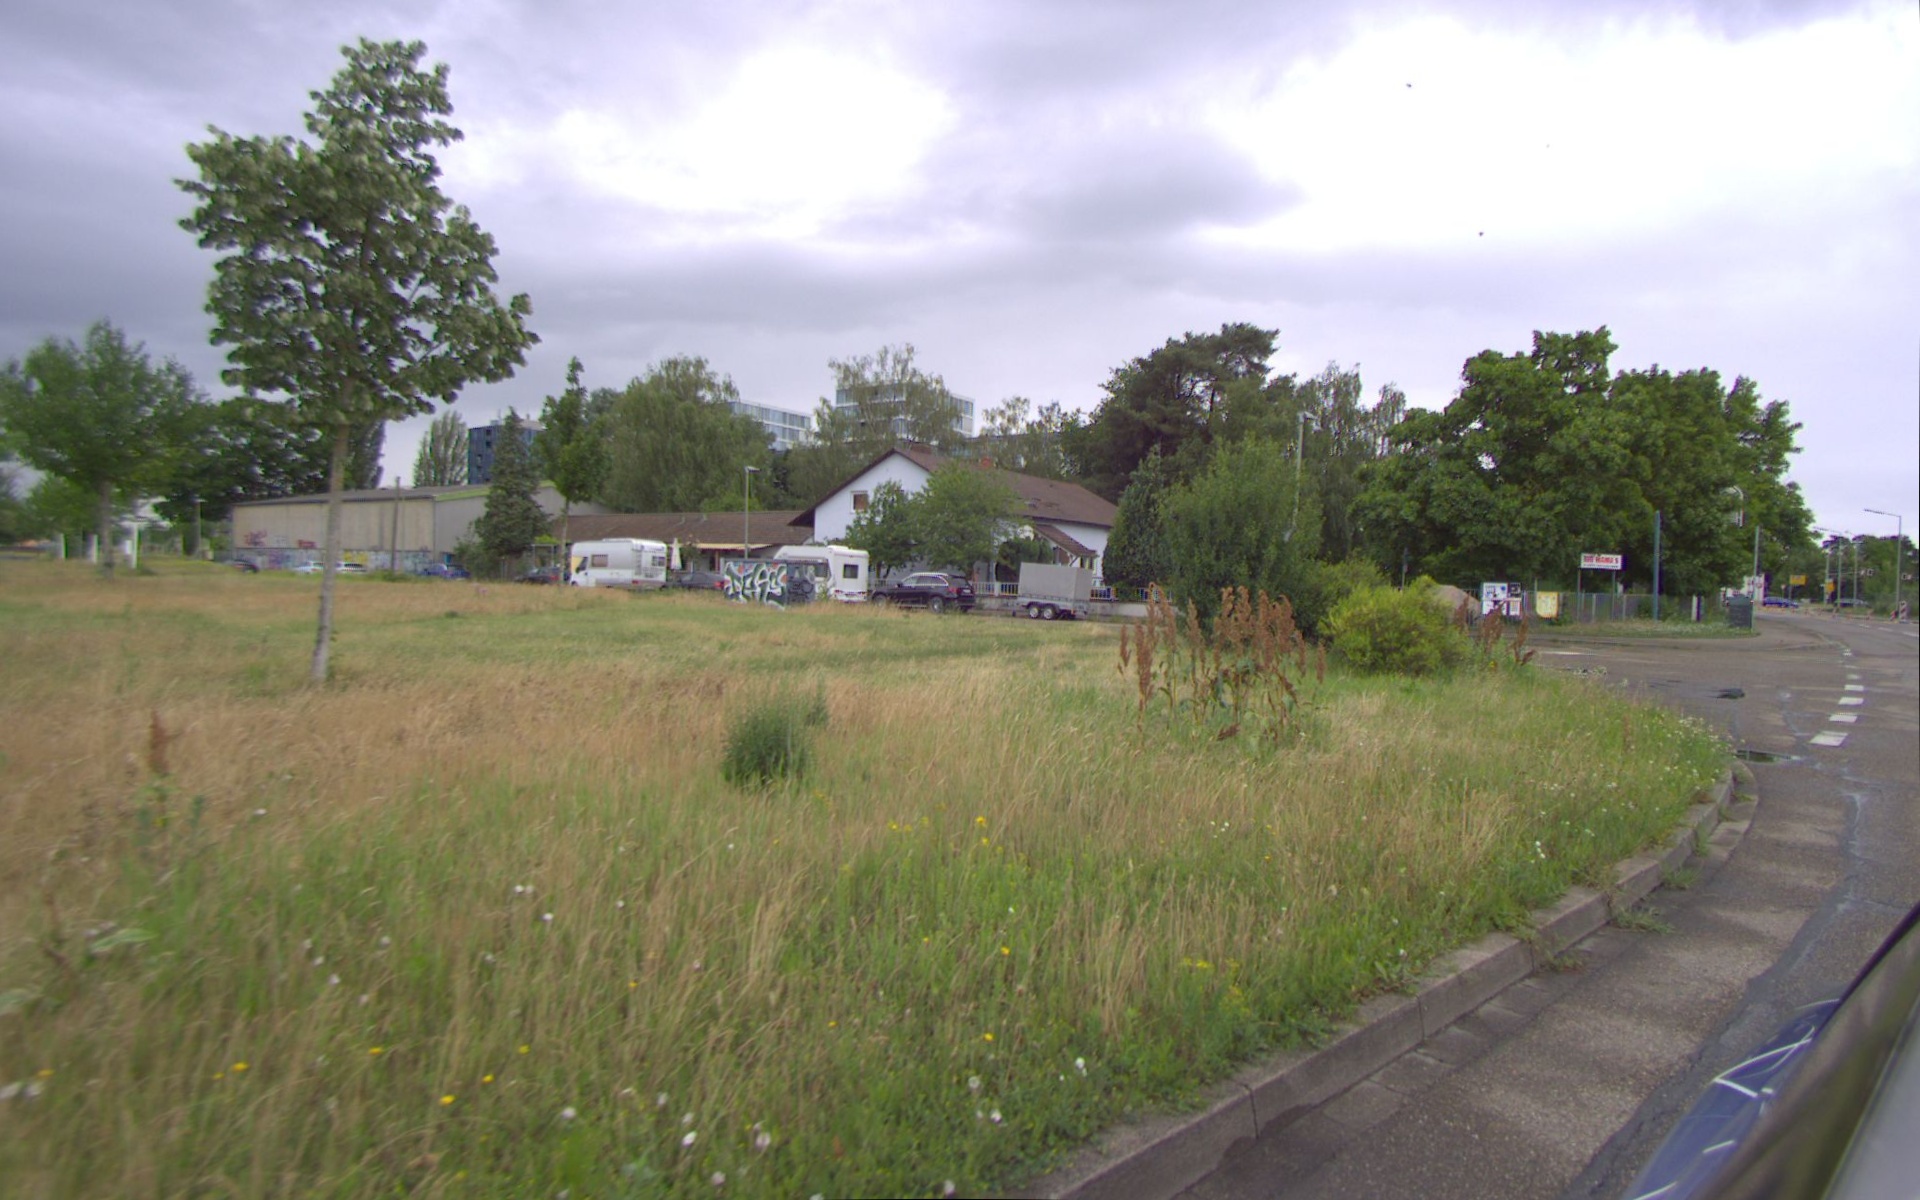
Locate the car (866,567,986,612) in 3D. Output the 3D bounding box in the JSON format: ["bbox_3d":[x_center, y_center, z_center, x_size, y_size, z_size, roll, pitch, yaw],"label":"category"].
[{"bbox_3d":[-1.404,-0.437,41.159,4.563,1.660,1.975,3,1,34],"label":"car"}]

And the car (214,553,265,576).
[{"bbox_3d":[-57.971,-2.848,81.395,4.500,1.594,1.974,3,-1,36],"label":"car"}]

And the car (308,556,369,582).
[{"bbox_3d":[-43.379,-2.145,70.617,4.564,1.594,1.974,3,-1,36],"label":"car"}]

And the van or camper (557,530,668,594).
[{"bbox_3d":[-18.302,-2.013,53.155,6.032,3.150,2.244,3,1,34],"label":"van or camper"}]

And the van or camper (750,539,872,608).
[{"bbox_3d":[-6.683,-1.209,45.092,5.149,2.867,2.385,3,1,36],"label":"van or camper"}]

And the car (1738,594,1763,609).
[{"bbox_3d":[87.076,0.169,111.511,1.875,1.586,4.303,2,1,35],"label":"car"}]

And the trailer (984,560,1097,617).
[{"bbox_3d":[3.045,-0.459,38.614,3.973,2.039,1.623,3,1,35],"label":"trailer"}]

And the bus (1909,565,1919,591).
[{"bbox_3d":[138.054,-3.010,140.999,2.678,3.694,8.413,2,1,-9],"label":"bus"}]

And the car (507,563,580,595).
[{"bbox_3d":[-23.442,-1.205,56.934,3.910,1.594,1.974,3,-1,36],"label":"car"}]

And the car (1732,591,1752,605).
[{"bbox_3d":[104.099,-0.265,134.725,1.745,1.606,3.855,5,3,33],"label":"car"}]

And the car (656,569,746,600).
[{"bbox_3d":[-12.571,-0.762,48.967,4.262,1.402,1.889,2,2,34],"label":"car"}]

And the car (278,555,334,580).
[{"bbox_3d":[-47.967,-2.369,74.195,4.352,1.594,1.974,3,-1,36],"label":"car"}]

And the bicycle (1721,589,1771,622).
[{"bbox_3d":[28.413,0.197,36.580,1.914,1.125,0.799,0,1,-32],"label":"bicycle"}]

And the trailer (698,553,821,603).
[{"bbox_3d":[-6.911,-0.762,34.745,4.090,1.552,1.738,3,1,33],"label":"trailer"}]

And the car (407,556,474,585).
[{"bbox_3d":[-32.551,-1.840,63.399,4.258,1.594,1.974,3,-1,36],"label":"car"}]
